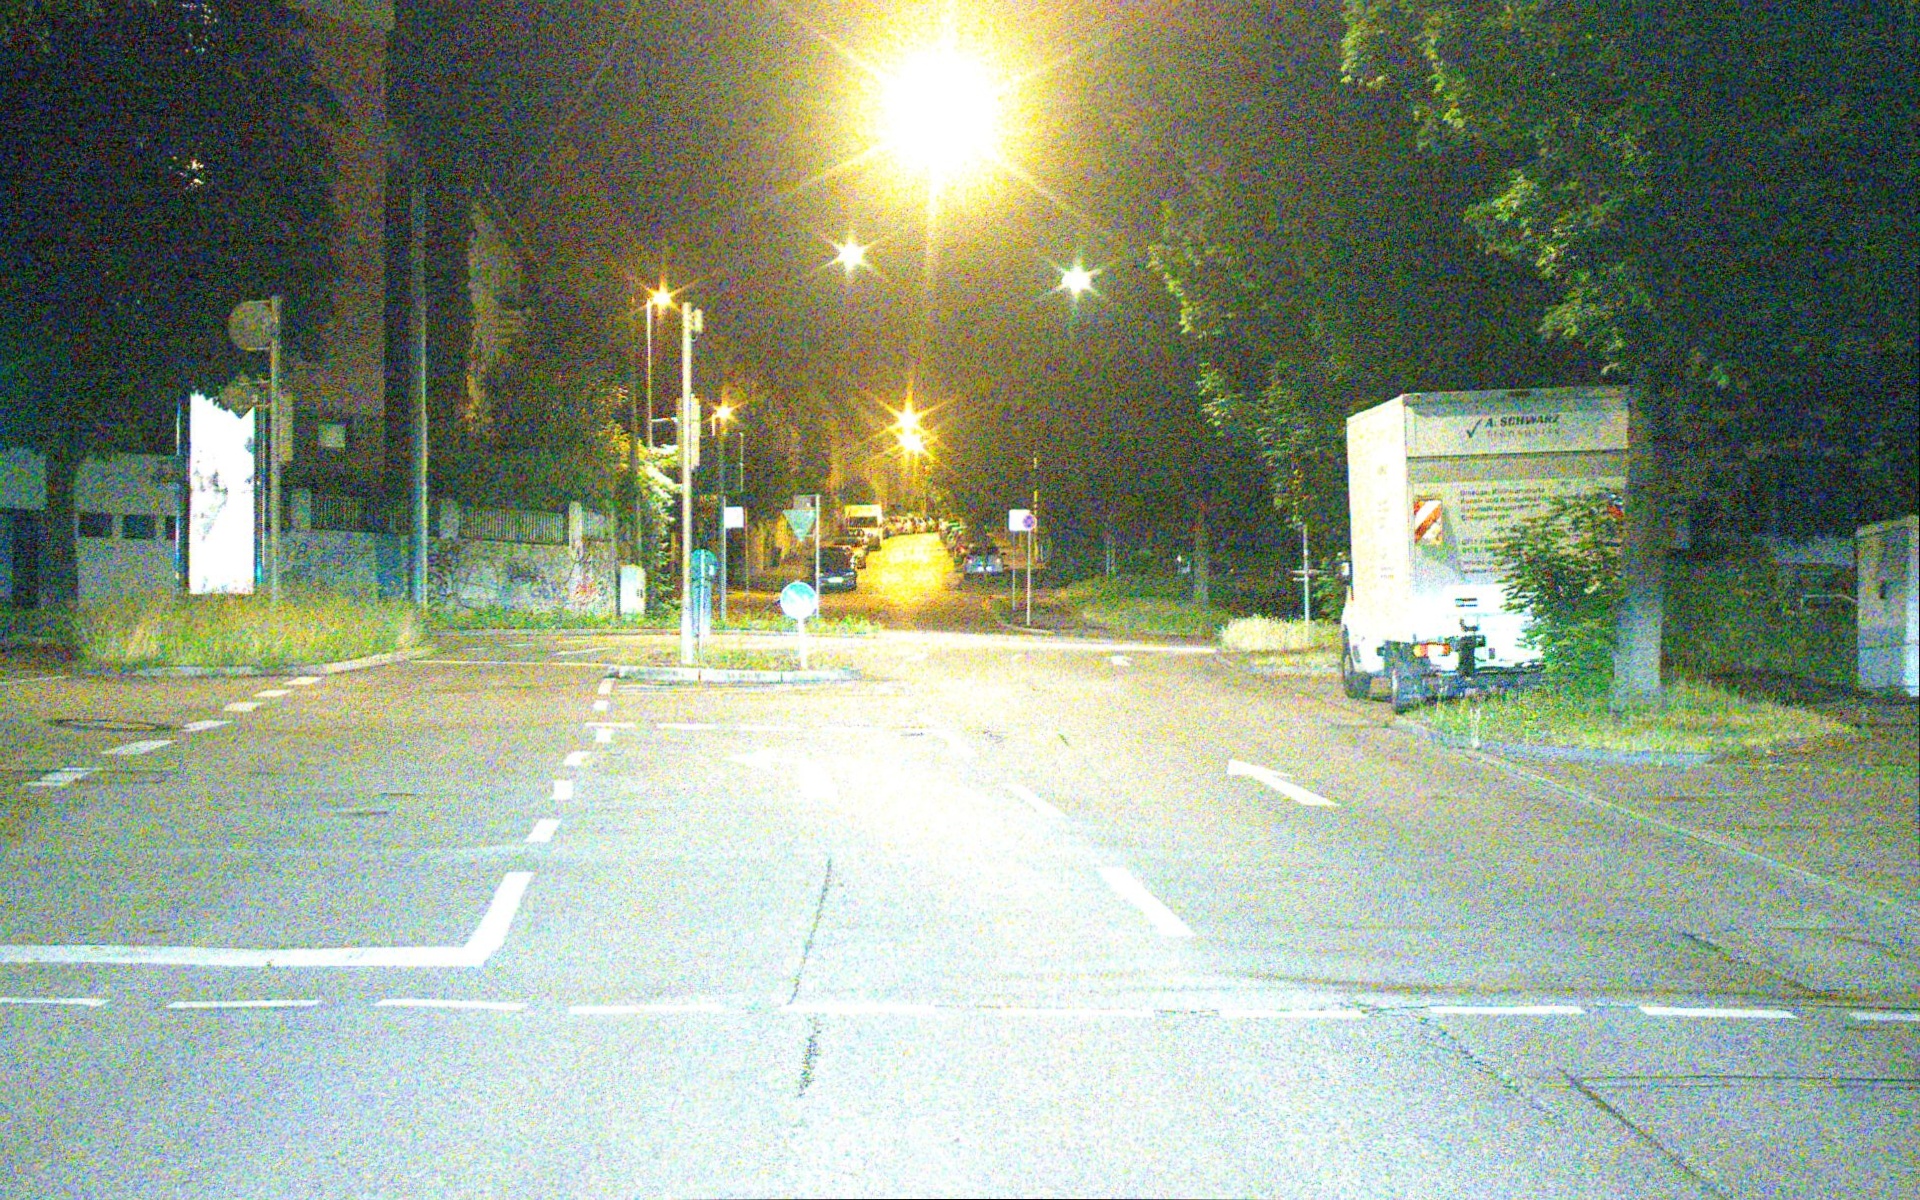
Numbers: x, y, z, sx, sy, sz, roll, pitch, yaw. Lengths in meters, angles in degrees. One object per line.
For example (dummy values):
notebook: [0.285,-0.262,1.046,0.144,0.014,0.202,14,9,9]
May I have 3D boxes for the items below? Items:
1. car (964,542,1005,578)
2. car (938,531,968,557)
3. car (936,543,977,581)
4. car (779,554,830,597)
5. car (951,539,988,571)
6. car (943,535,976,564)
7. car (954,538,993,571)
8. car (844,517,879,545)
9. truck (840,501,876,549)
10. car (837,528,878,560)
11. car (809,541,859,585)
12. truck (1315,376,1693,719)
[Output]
car: [1.023,-1.678,143.354,1.634,1.447,3.485,1,1,-1]
car: [-0.381,-3.111,191.477,1.634,1.447,3.485,1,1,-1]
car: [-0.156,-1.529,137.759,1.593,1.471,3.654,1,1,-1]
car: [-5.331,-0.851,118.220,1.634,1.447,3.485,1,1,-1]
car: [0.446,-2.086,159.272,1.634,1.447,3.485,1,1,-1]
car: [-0.024,-2.622,178.510,1.634,1.447,3.485,1,1,-1]
car: [0.583,-2.035,153.087,1.634,1.447,3.485,1,1,-1]
car: [-5.377,-3.737,186.943,1.815,1.486,4.000,1,1,-2]
truck: [-6.222,-4.543,209.573,2.086,2.838,5.832,1,1,-2]
car: [-4.797,-2.616,160.561,1.815,1.486,4.000,1,1,-2]
car: [-4.903,-1.461,134.441,1.815,1.678,4.000,1,1,-1]
truck: [5.300,-0.527,34.594,2.749,3.100,6.258,1,1,0]
